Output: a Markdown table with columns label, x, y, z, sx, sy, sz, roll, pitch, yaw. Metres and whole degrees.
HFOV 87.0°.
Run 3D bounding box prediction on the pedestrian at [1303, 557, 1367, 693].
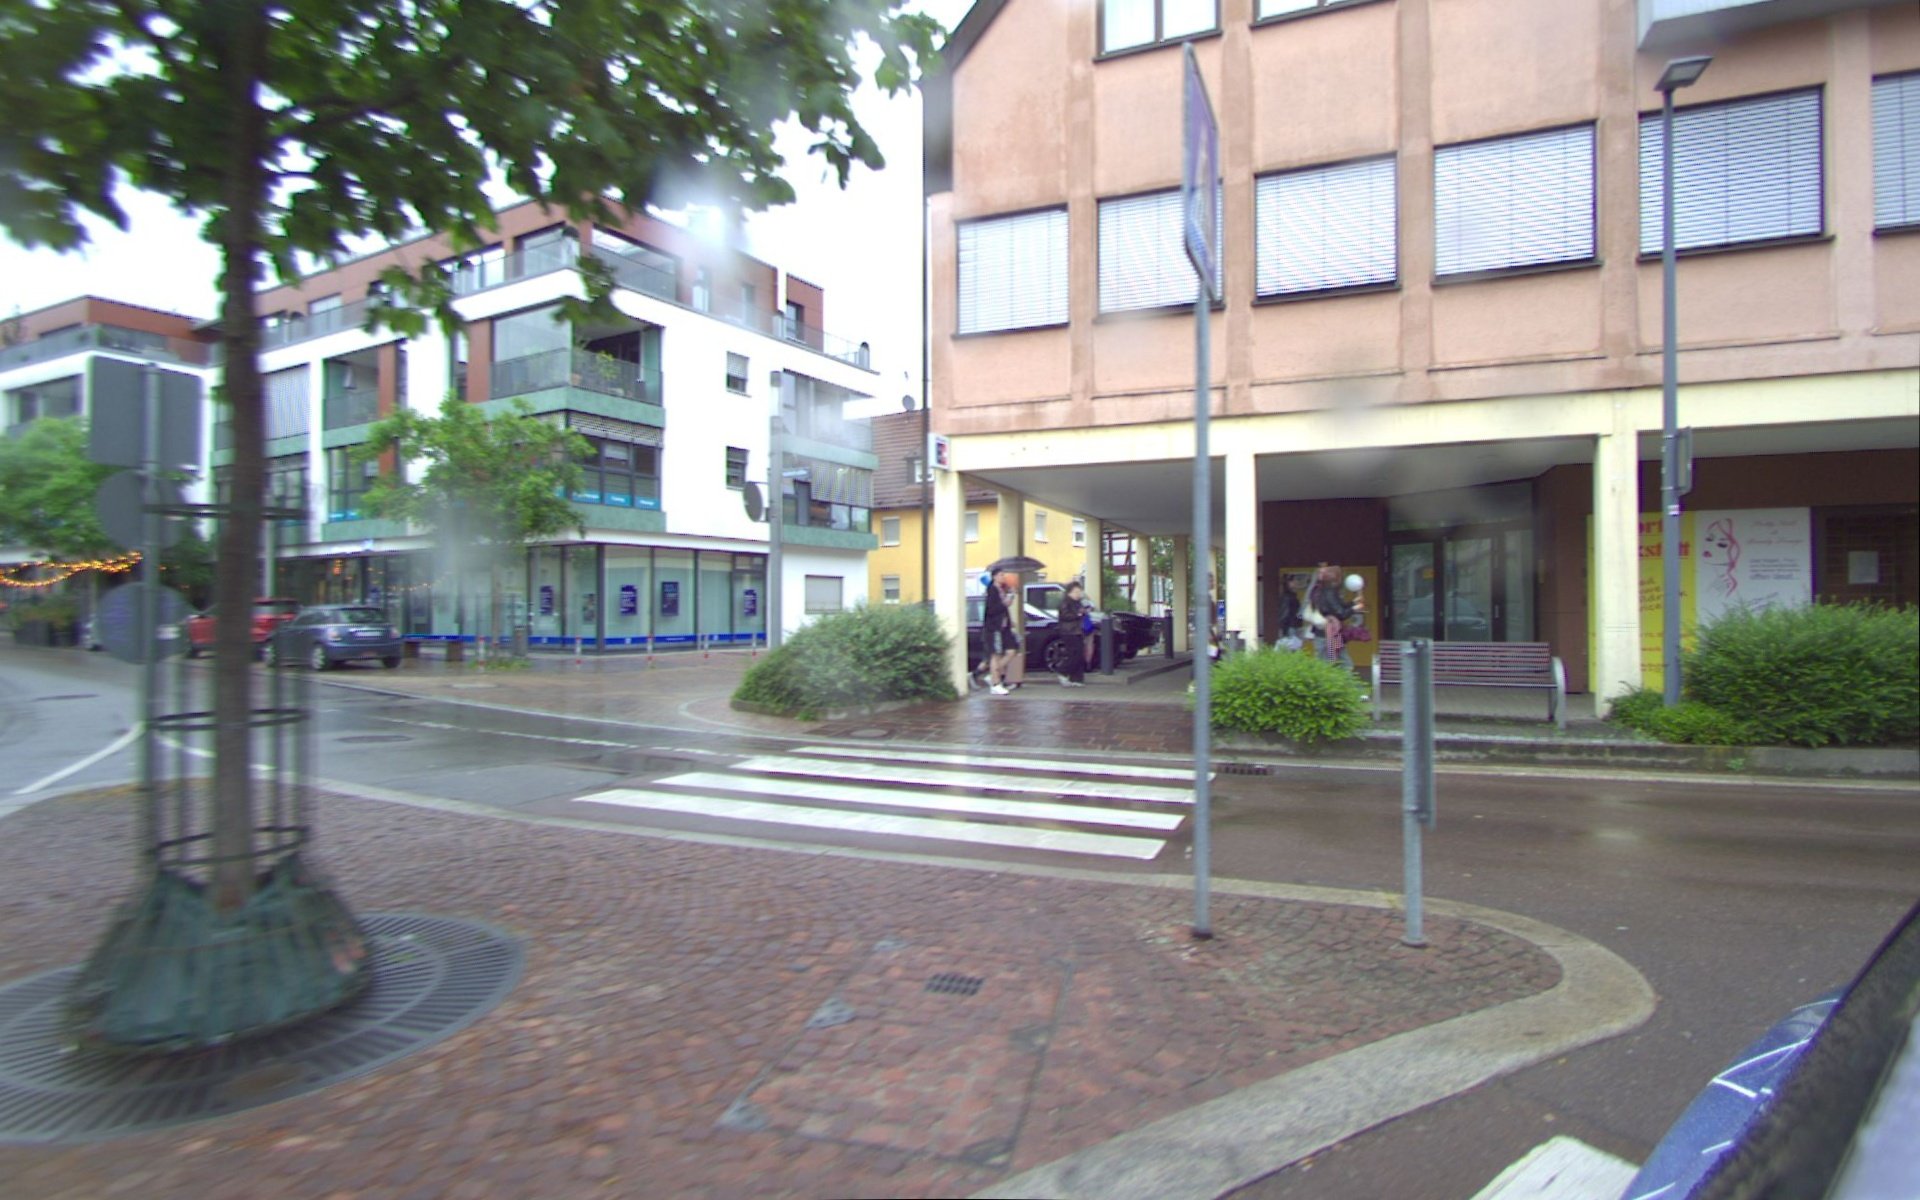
| label | x | y | z | sx | sy | sz | roll | pitch | yaw |
| --- | --- | --- | --- | --- | --- | --- | --- | --- | --- |
| pedestrian | 4.901 | 0.312 | 13.210 | 0.725 | 1.711 | 0.719 | -1 | 0 | 24 |

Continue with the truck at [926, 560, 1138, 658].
| label | x | y | z | sx | sy | sz | roll | pitch | yaw |
| --- | --- | --- | --- | --- | --- | --- | --- | --- | --- |
| truck | 1.458 | 0.178 | 20.468 | 3.955 | 1.831 | 1.755 | -1 | 0 | 23 |

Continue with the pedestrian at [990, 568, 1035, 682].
| label | x | y | z | sx | sy | sz | roll | pitch | yaw |
| --- | --- | --- | --- | --- | --- | --- | --- | --- | --- |
| pedestrian | 0.802 | 0.374 | 15.302 | 0.515 | 1.684 | 0.537 | -1 | 0 | 24 |

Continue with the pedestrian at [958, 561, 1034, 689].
| label | x | y | z | sx | sy | sz | roll | pitch | yaw |
| --- | --- | --- | --- | --- | --- | --- | --- | --- | --- |
| pedestrian | 0.519 | 0.346 | 14.534 | 0.882 | 1.771 | 0.730 | -1 | 0 | 23 |

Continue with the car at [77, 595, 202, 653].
| label | x | y | z | sx | sy | sz | roll | pitch | yaw |
| --- | --- | --- | --- | --- | --- | --- | --- | --- | --- |
| car | -23.264 | 0.629 | 28.671 | 3.971 | 1.430 | 1.602 | 1 | 3 | 33 |

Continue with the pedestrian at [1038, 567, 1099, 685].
| label | x | y | z | sx | sy | sz | roll | pitch | yaw |
| --- | --- | --- | --- | --- | --- | --- | --- | --- | --- |
| pedestrian | 1.625 | 0.379 | 15.140 | 0.734 | 1.711 | 0.630 | -1 | 0 | 24 |

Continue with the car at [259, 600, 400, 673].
| label | x | y | z | sx | sy | sz | roll | pitch | yaw |
| --- | --- | --- | --- | --- | --- | --- | --- | --- | --- |
| car | -14.255 | 0.775 | 22.837 | 3.352 | 1.378 | 1.523 | 2 | 3 | 35 |

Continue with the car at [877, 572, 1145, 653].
| label | x | y | z | sx | sy | sz | roll | pitch | yaw |
| --- | --- | --- | --- | --- | --- | --- | --- | --- | --- |
| car | 0.894 | 0.212 | 17.879 | 4.421 | 1.292 | 1.755 | -1 | 0 | 23 |

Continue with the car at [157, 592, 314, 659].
| label | x | y | z | sx | sy | sz | roll | pitch | yaw |
| --- | --- | --- | --- | --- | --- | --- | --- | --- | --- |
| car | -18.402 | 0.607 | 25.679 | 3.962 | 1.519 | 1.614 | 0 | 3 | 28 |

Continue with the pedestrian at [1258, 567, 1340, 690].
| label | x | y | z | sx | sy | sz | roll | pitch | yaw |
| --- | --- | --- | --- | --- | --- | --- | --- | --- | --- |
| pedestrian | 4.695 | 0.381 | 14.029 | 0.780 | 1.639 | 0.709 | 0 | 0 | -29 |

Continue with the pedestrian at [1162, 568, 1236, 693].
| label | x | y | z | sx | sy | sz | roll | pitch | yaw |
| --- | --- | --- | --- | --- | --- | --- | --- | --- | --- |
| pedestrian | 3.255 | 0.392 | 13.739 | 0.817 | 1.624 | 0.738 | 0 | 2 | 27 |

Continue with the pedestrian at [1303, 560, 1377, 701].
| label | x | y | z | sx | sy | sz | roll | pitch | yaw |
| --- | --- | --- | --- | --- | --- | --- | --- | --- | --- |
| pedestrian | 4.695 | 0.366 | 12.523 | 0.811 | 1.682 | 0.693 | -1 | 0 | 20 |
